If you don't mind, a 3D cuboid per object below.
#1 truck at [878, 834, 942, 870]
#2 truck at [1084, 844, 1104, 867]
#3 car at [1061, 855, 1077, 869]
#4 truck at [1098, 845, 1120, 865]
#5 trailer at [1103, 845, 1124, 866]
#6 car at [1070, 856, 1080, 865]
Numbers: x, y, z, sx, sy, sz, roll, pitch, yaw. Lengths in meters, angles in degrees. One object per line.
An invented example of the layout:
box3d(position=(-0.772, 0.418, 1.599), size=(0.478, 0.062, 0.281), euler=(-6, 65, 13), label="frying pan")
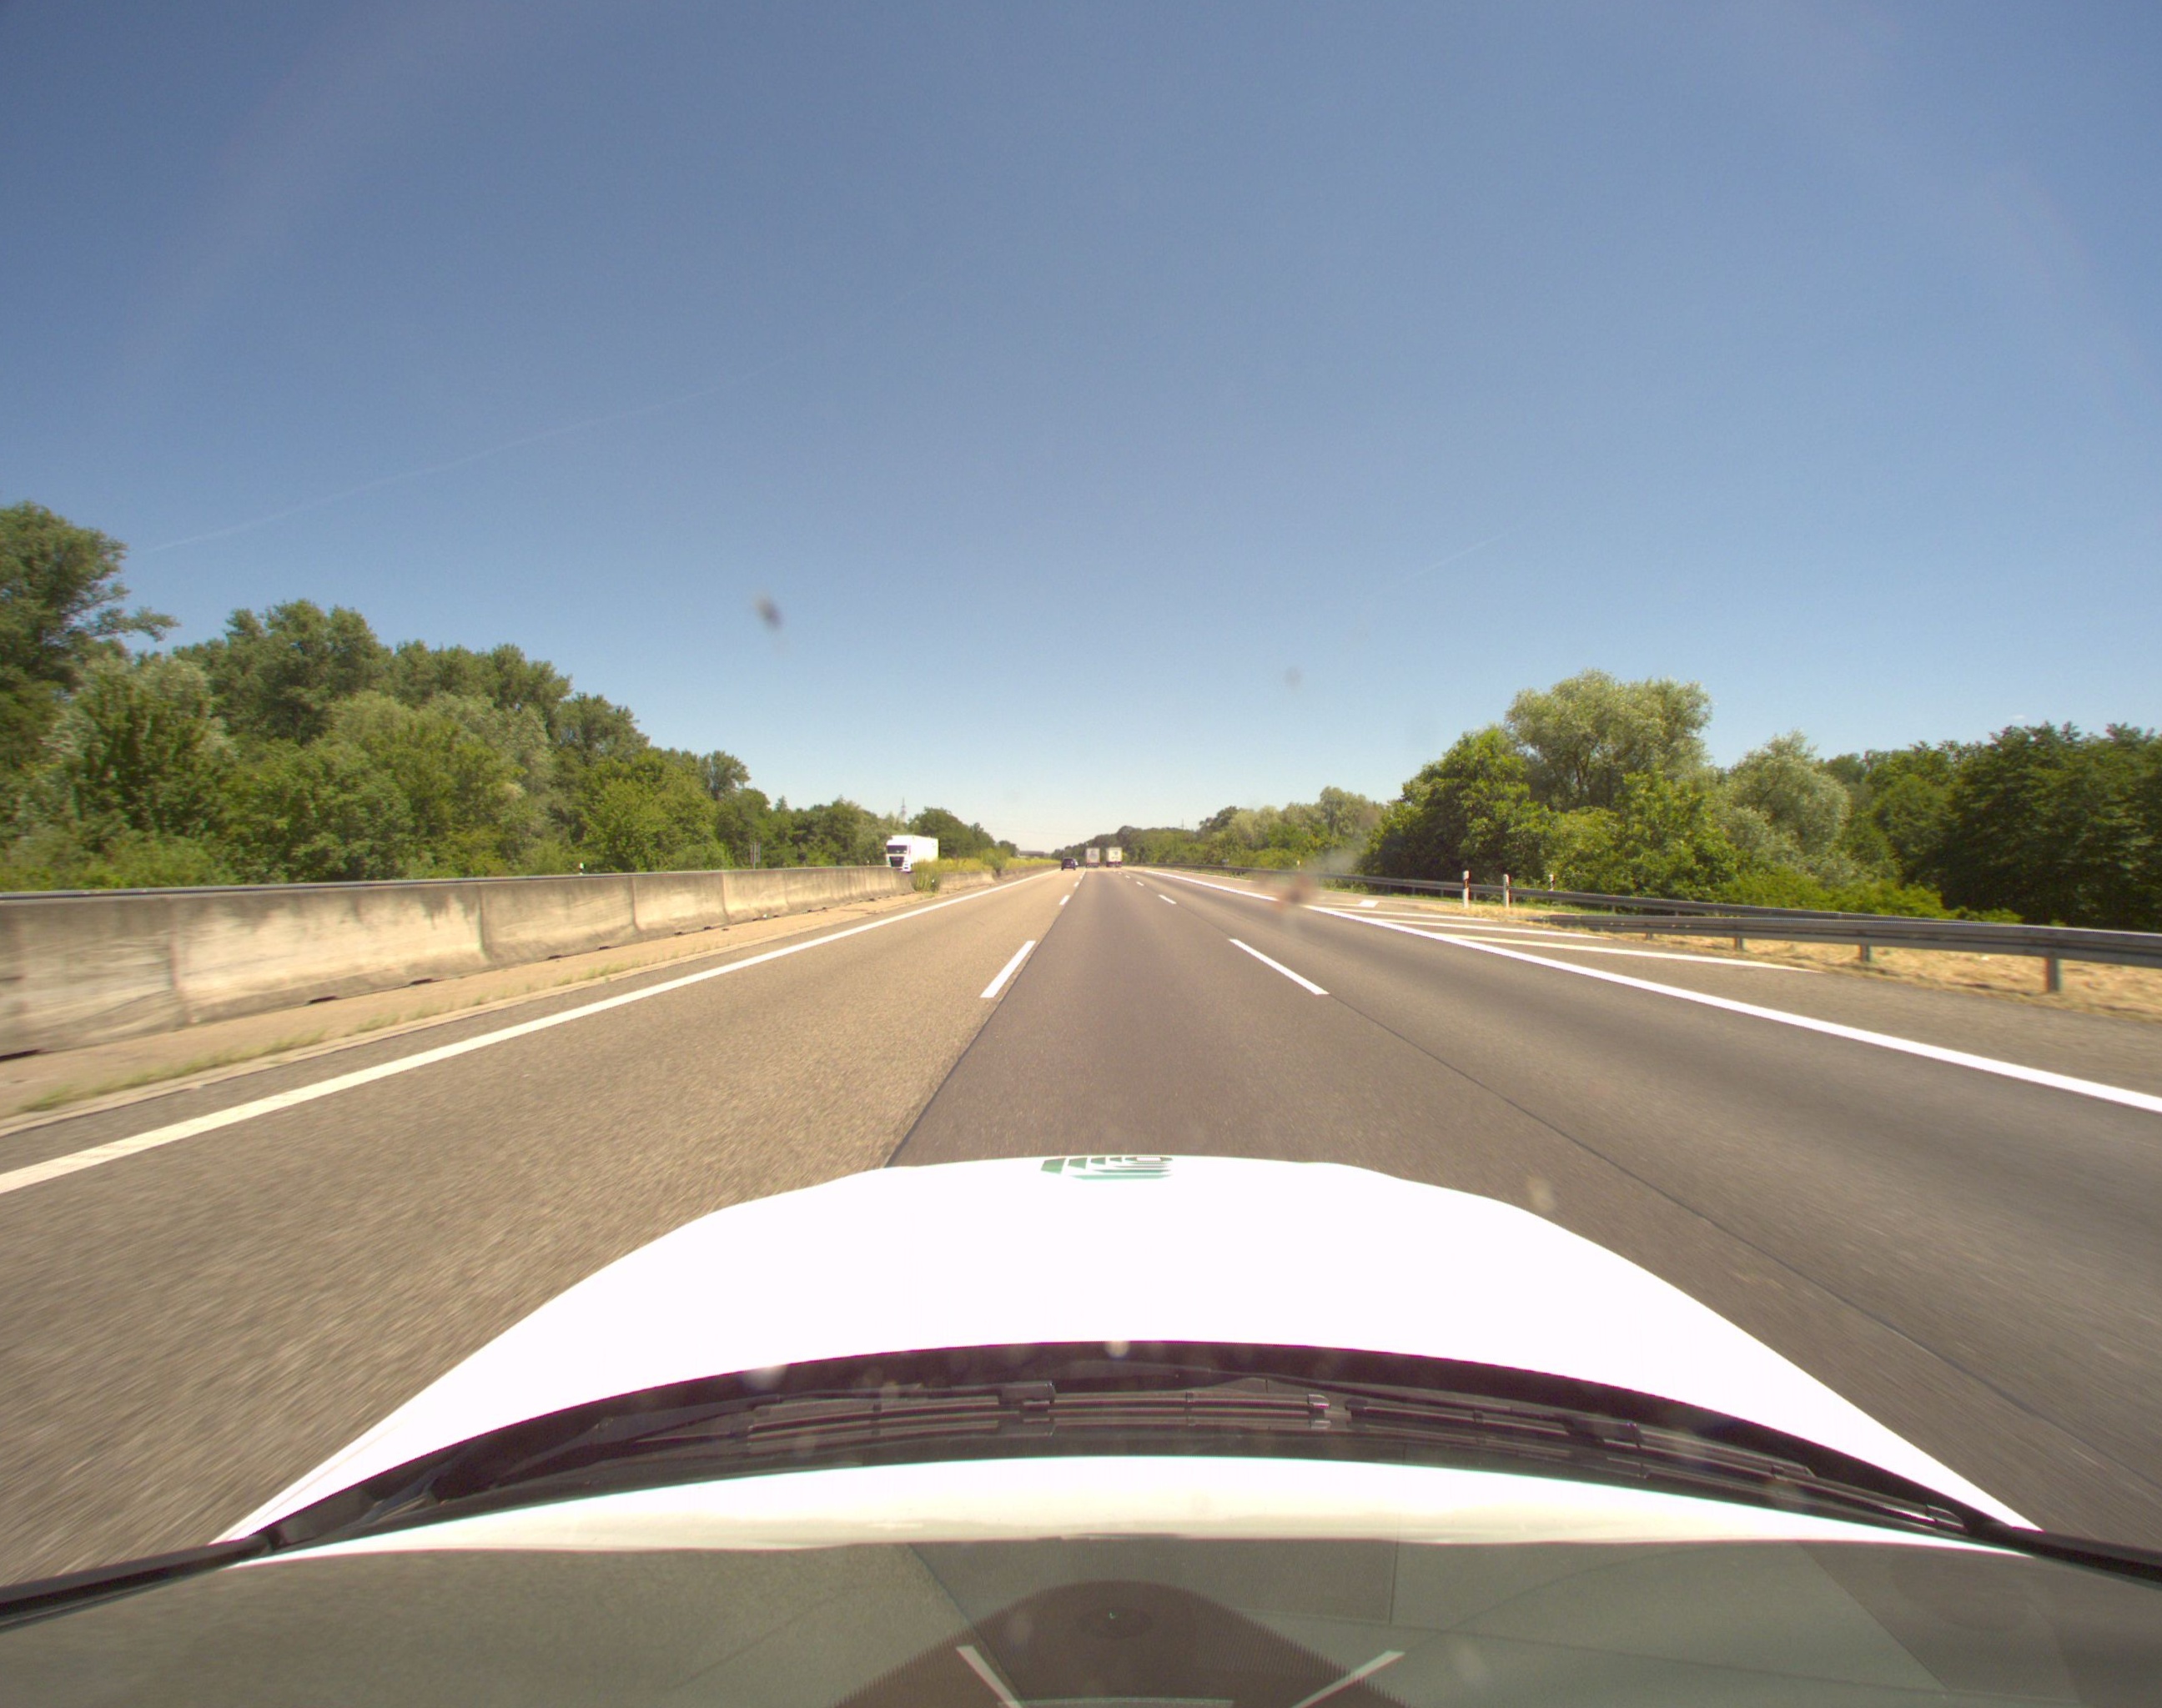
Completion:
box3d(position=(-19.127, -0.160, 92.838), size=(3.586, 3.735, 17.482), euler=(0, 0, 0), label="truck")
box3d(position=(2.467, 0.290, 158.950), size=(3.222, 4.202, 8.455), euler=(0, 0, -3), label="truck")
box3d(position=(-1.663, 1.099, 113.477), size=(1.986, 1.874, 4.001), euler=(0, 0, 1), label="car")
box3d(position=(5.749, 0.299, 170.665), size=(3.320, 4.053, 10.934), euler=(0, 0, -5), label="truck")
box3d(position=(6.415, 0.265, 162.769), size=(3.361, 4.142, 9.078), euler=(0, 0, -4), label="trailer")
box3d(position=(-1.266, 1.344, 165.130), size=(1.988, 1.874, 3.997), euler=(1, 0, -2), label="car")
